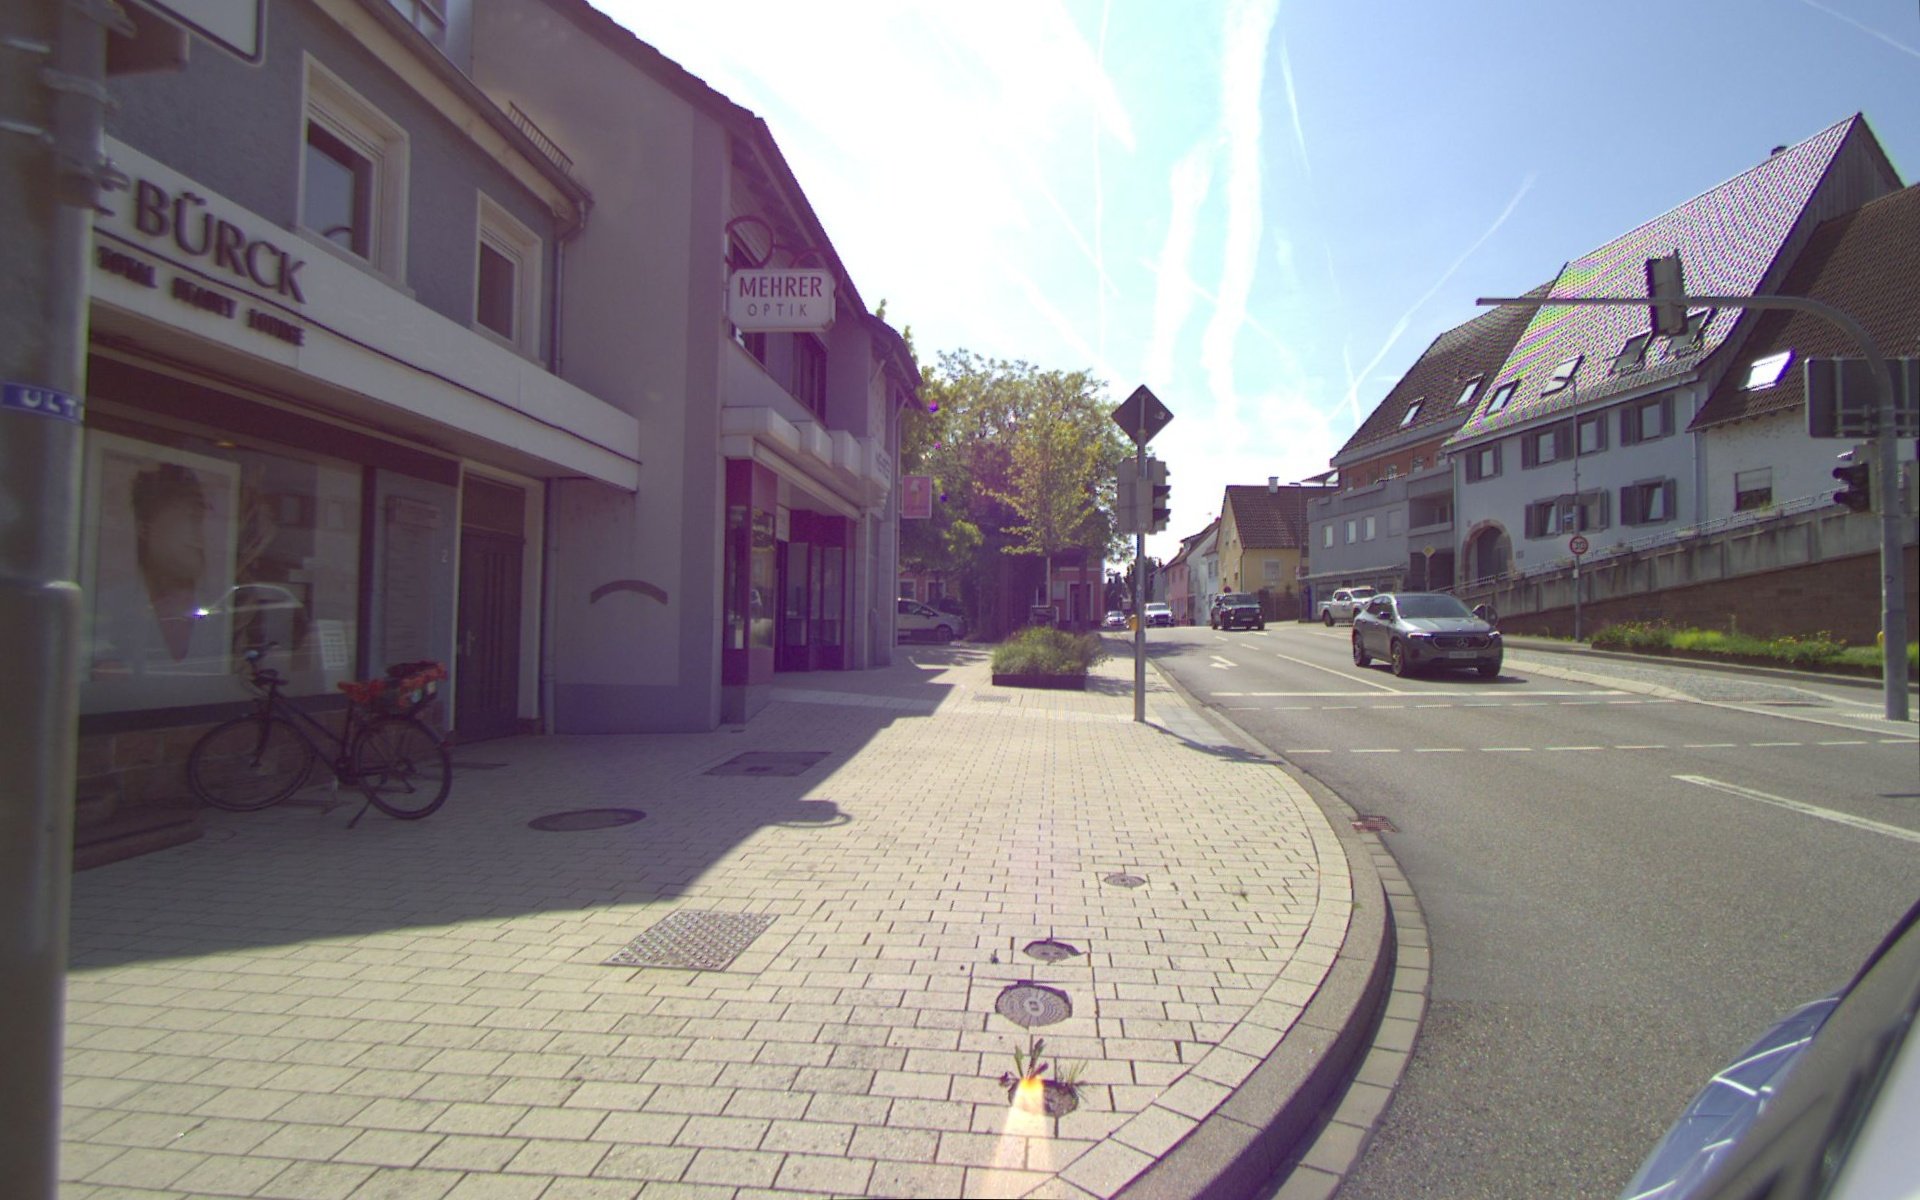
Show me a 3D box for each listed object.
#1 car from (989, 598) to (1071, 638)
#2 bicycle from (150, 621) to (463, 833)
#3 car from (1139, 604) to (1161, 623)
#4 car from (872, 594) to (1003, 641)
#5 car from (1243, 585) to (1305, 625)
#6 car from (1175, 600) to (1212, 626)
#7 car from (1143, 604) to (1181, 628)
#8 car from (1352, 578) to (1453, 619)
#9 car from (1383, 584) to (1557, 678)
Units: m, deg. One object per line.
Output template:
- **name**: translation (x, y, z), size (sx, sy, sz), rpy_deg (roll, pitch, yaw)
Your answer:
- **car**: translation (3.750, 0.940, 53.859), size (4.039, 1.776, 1.804), rpy_deg (-5, -2, 14)
- **bicycle**: translation (-4.180, 0.769, 6.501), size (1.780, 1.250, 0.548), rpy_deg (0, -1, 10)
- **car**: translation (16.131, 1.140, 85.891), size (1.809, 1.562, 4.157), rpy_deg (-1, 0, 11)
- **car**: translation (-0.765, 0.612, 35.614), size (4.418, 1.564, 1.721), rpy_deg (-1, -1, 7)
- **car**: translation (13.746, 0.222, 44.547), size (1.762, 1.673, 4.385), rpy_deg (-1, 0, 6)
- **car**: translation (14.961, 0.801, 65.033), size (1.750, 1.562, 4.092), rpy_deg (-1, -1, 5)
- **car**: translation (12.972, 1.037, 65.314), size (1.756, 1.444, 3.705), rpy_deg (-2, -1, 2)
- **car**: translation (20.589, -0.044, 47.364), size (1.773, 1.821, 5.293), rpy_deg (-1, 0, -8)
- **car**: translation (9.770, 0.540, 19.786), size (1.710, 1.593, 4.279), rpy_deg (-2, 0, 9)
